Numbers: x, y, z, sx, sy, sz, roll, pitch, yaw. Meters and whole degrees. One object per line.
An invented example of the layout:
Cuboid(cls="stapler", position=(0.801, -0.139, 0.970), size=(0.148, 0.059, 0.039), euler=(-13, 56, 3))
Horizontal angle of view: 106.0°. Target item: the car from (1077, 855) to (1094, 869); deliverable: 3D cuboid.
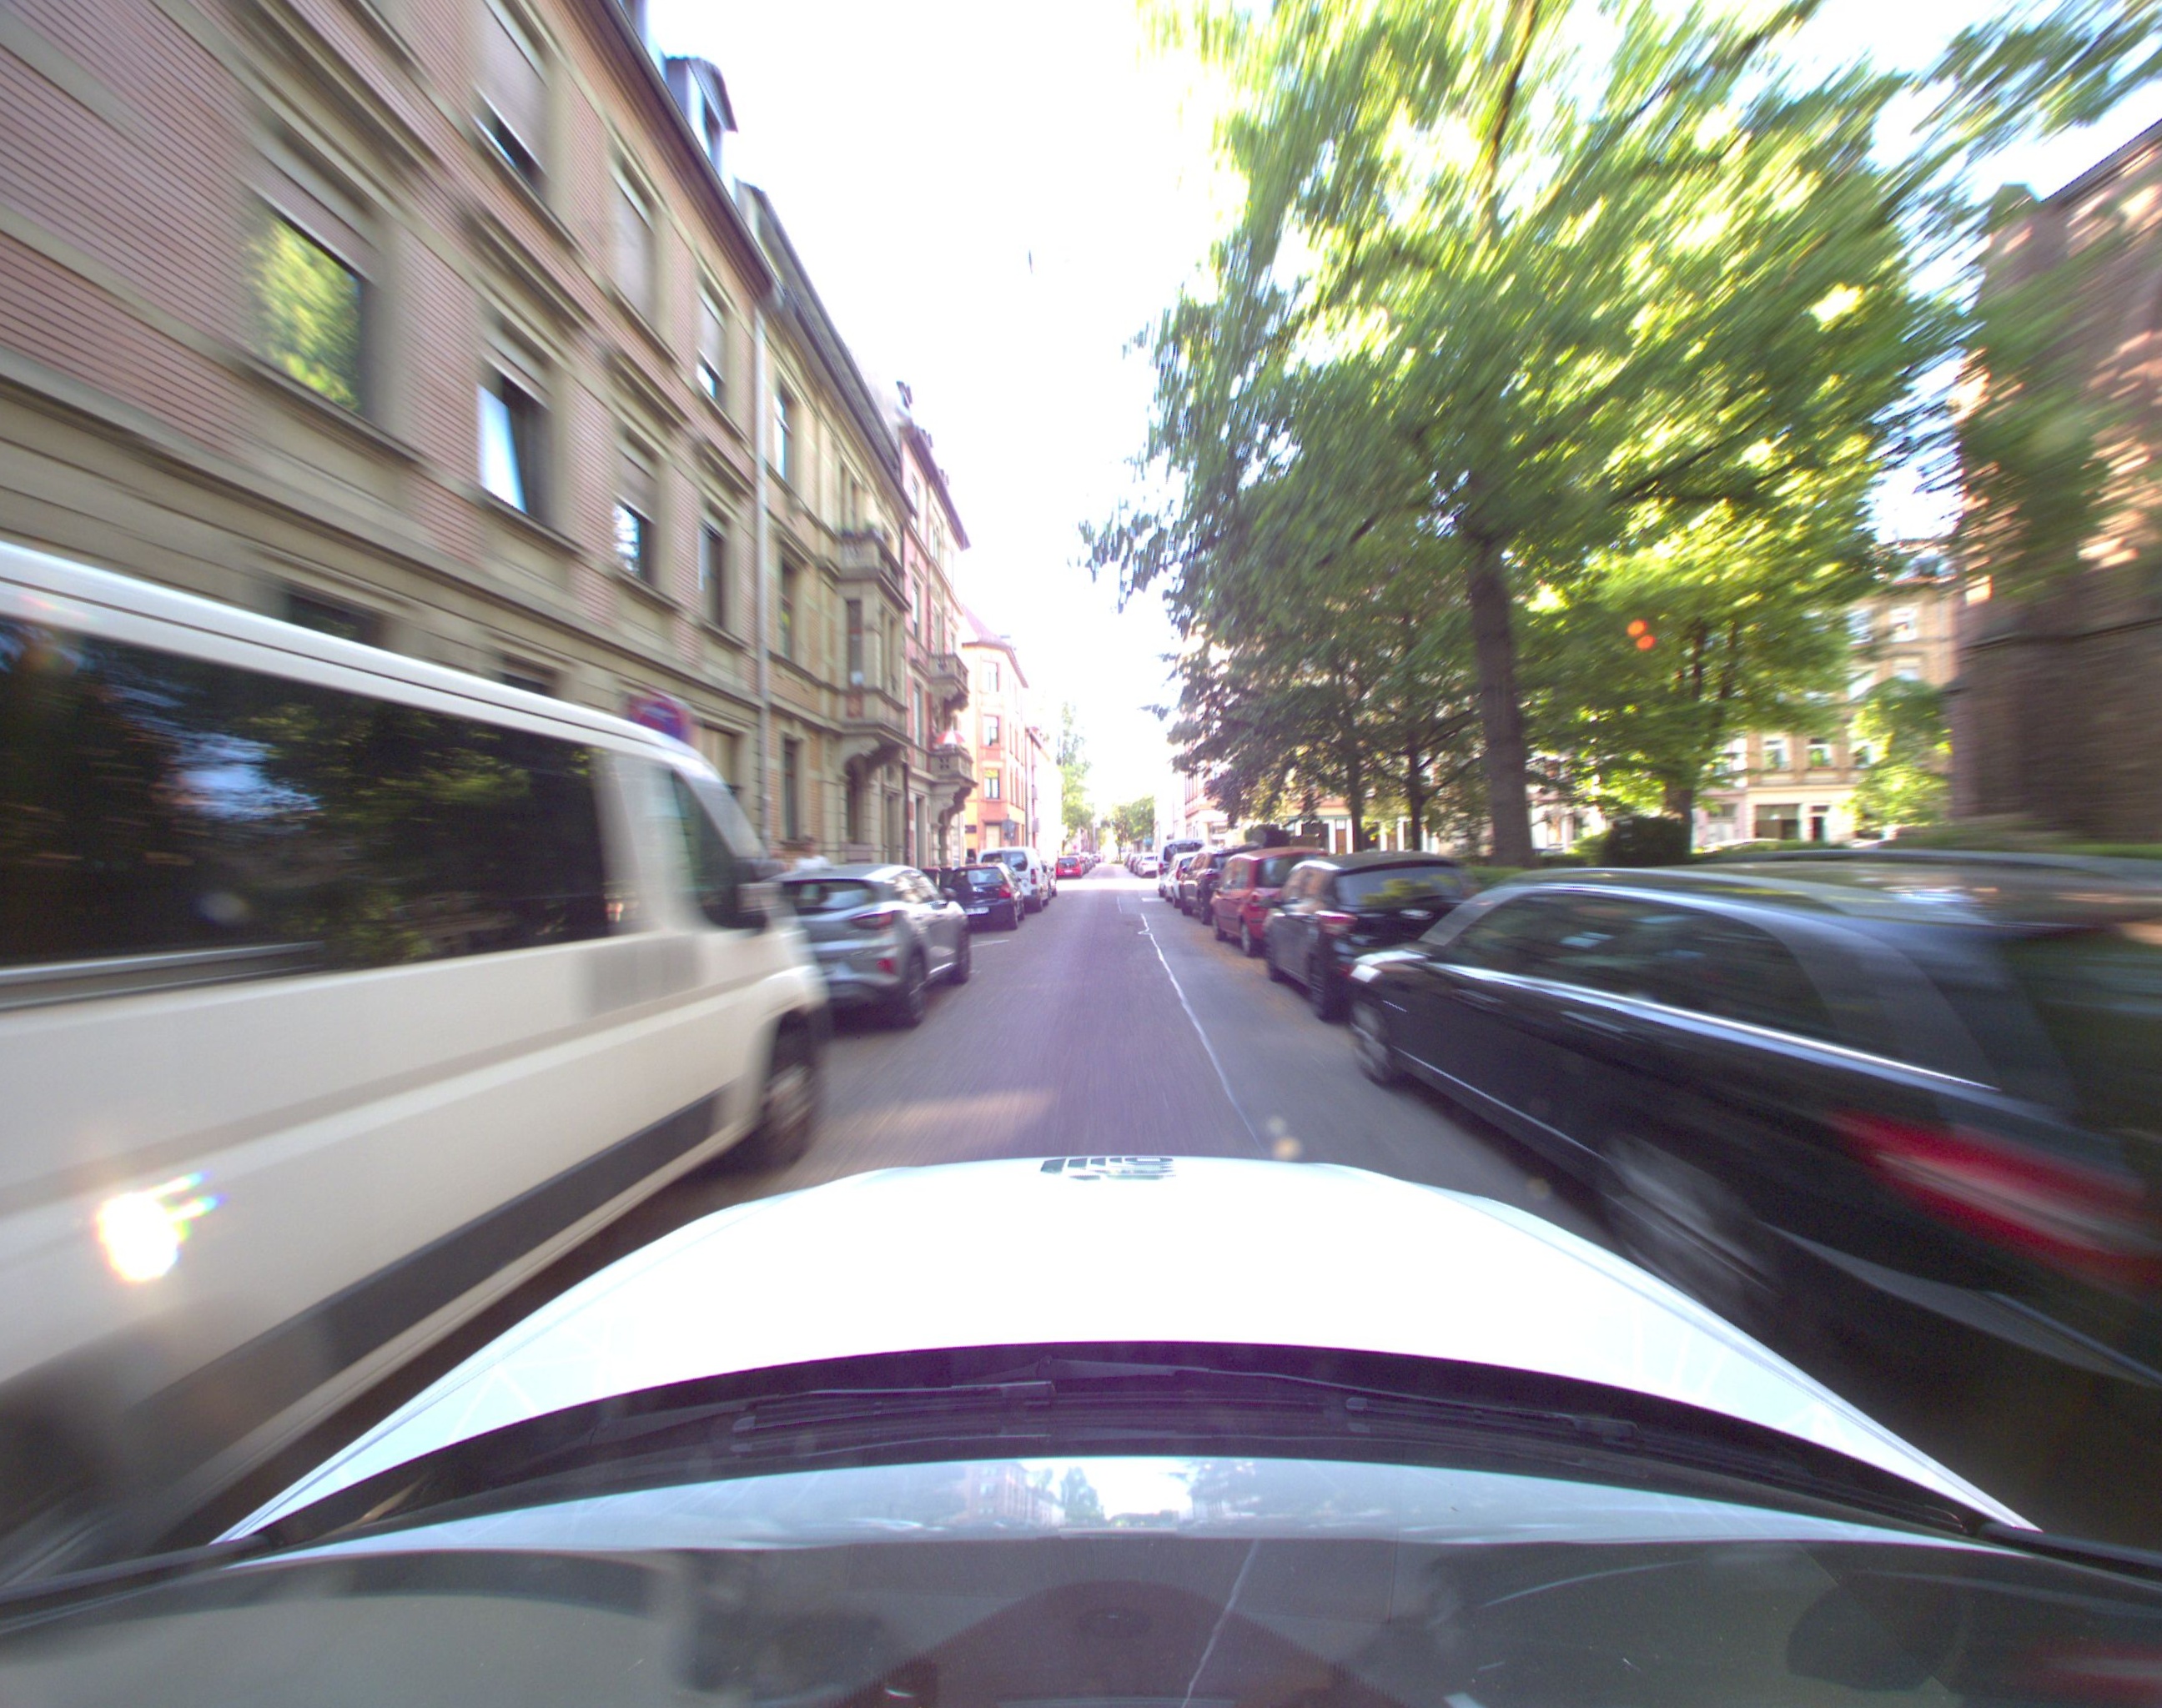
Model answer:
Cuboid(cls="car", position=(0.558, 0.960, 96.072), size=(1.662, 1.469, 3.826), euler=(-3, 0, 5))

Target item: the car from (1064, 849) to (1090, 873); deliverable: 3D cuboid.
Cuboid(cls="car", position=(-0.319, 0.544, 68.032), size=(1.736, 1.811, 4.677), euler=(-3, 0, 4))

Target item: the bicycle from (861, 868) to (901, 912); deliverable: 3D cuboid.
Cuboid(cls="bicycle", position=(-5.064, 0.888, 20.710), size=(0.569, 1.041, 1.547), euler=(1, 0, 2))

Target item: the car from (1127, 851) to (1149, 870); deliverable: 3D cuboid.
Cuboid(cls="car", position=(5.050, 0.555, 72.512), size=(1.670, 1.506, 3.938), euler=(-3, 0, 1))

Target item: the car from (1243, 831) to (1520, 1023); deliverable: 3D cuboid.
Cuboid(cls="car", position=(2.939, 0.645, 8.849), size=(1.613, 1.486, 3.778), euler=(-6, -1, 2))

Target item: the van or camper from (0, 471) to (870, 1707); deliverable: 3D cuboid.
Cuboid(cls="van or camper", position=(-2.636, 0.523, 2.639), size=(2.167, 2.148, 5.159), euler=(-3, 0, 3))

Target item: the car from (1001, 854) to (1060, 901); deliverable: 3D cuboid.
Cuboid(cls="car", position=(-1.746, 0.772, 29.153), size=(1.686, 1.481, 3.974), euler=(-3, 0, 1))

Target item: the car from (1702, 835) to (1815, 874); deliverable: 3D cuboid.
Cuboid(cls="car", position=(30.058, 0.046, 36.212), size=(3.510, 1.649, 1.637), euler=(0, -2, 8))

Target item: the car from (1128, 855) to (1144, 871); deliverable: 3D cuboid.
Cuboid(cls="car", position=(6.047, 1.002, 89.382), size=(1.669, 1.681, 4.098), euler=(-3, -1, 3))

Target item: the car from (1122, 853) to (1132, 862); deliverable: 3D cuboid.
Cuboid(cls="car", position=(8.027, 0.569, 142.665), size=(1.670, 1.487, 3.639), euler=(-3, 0, 1))

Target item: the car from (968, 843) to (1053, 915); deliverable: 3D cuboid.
Cuboid(cls="car", position=(-1.942, 0.661, 23.725), size=(1.824, 1.811, 4.574), euler=(-3, 0, 2))

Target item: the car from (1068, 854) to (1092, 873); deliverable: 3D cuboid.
Cuboid(cls="car", position=(-0.059, 0.828, 73.237), size=(1.736, 1.506, 4.351), euler=(-3, 0, 4))

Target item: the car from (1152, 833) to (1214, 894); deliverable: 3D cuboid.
Cuboid(cls="car", position=(3.678, 0.320, 30.113), size=(1.906, 1.998, 4.797), euler=(-3, 0, 4))

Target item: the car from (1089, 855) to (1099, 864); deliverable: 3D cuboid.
Cuboid(cls="car", position=(2.224, 0.996, 141.402), size=(1.670, 1.487, 4.096), euler=(-3, 0, 1))

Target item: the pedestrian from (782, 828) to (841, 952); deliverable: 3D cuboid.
Cuboid(cls="pedestrian", position=(-4.212, 0.554, 12.781), size=(0.576, 1.883, 0.905), euler=(0, -1, 2))

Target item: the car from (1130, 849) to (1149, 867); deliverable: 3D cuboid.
Cuboid(cls="car", position=(5.986, 0.420, 84.063), size=(1.670, 1.627, 4.251), euler=(-5, 0, 1))

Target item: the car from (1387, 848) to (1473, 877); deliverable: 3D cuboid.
Cuboid(cls="car", position=(18.133, 0.473, 42.500), size=(3.832, 1.473, 1.637), euler=(0, -2, 8))

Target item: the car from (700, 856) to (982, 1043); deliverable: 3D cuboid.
Cuboid(cls="car", position=(-2.336, 0.835, 9.150), size=(1.760, 1.514, 4.194), euler=(-3, 0, 1))

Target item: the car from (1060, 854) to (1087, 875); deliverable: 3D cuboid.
Cuboid(cls="car", position=(-0.553, 0.779, 62.536), size=(1.649, 1.521, 3.948), euler=(-3, 0, 4))

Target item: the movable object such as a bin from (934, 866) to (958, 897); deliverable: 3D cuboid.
Cuboid(cls="movable object such as a bin", position=(-4.719, 0.957, 28.444), size=(0.635, 1.041, 0.856), euler=(1, 0, 2))

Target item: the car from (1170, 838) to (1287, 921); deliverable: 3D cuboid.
Cuboid(cls="car", position=(3.348, 0.569, 19.339), size=(1.735, 1.603, 4.260), euler=(-6, -1, -2))

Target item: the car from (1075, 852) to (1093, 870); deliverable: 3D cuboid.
Cuboid(cls="car", position=(0.305, 0.706, 87.194), size=(1.759, 1.785, 4.040), euler=(-3, 0, 1))

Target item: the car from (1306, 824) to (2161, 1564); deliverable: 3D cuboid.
Cuboid(cls="car", position=(2.710, 0.725, 4.093), size=(1.671, 1.441, 4.693), euler=(-6, -1, -1))

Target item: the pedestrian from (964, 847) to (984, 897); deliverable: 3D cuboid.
Cuboid(cls="pedestrian", position=(-3.533, 0.613, 27.035), size=(0.546, 1.644, 0.717), euler=(0, -2, 2))

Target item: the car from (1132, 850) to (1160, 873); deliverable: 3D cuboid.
Cuboid(cls="car", position=(4.613, 0.538, 58.119), size=(1.737, 1.506, 4.022), euler=(-3, 0, 1))

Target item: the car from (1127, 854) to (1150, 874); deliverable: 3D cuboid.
Cuboid(cls="car", position=(4.758, 0.791, 67.416), size=(1.670, 1.506, 3.938), euler=(-3, 0, 1))

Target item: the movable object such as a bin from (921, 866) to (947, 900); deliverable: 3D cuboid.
Cuboid(cls="movable object such as a bin", position=(-4.729, 0.934, 26.199), size=(0.635, 1.041, 0.856), euler=(1, 0, 2))

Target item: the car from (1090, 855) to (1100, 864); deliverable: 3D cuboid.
Cuboid(cls="car", position=(2.488, 1.025, 146.516), size=(1.670, 1.487, 4.096), euler=(-3, 0, 1))

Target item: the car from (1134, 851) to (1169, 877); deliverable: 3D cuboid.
Cuboid(cls="car", position=(4.459, 0.632, 52.172), size=(1.738, 1.506, 4.356), euler=(-3, 0, -1))

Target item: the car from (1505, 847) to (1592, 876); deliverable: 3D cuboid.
Cuboid(cls="car", position=(23.967, 0.401, 41.814), size=(3.510, 1.473, 1.637), euler=(0, -2, 8))

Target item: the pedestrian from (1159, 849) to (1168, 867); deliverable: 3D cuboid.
Cuboid(cls="pedestrian", position=(7.740, 0.384, 76.541), size=(0.683, 1.660, 0.718), euler=(-2, 0, 2))

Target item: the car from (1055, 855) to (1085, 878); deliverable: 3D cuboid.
Cuboid(cls="car", position=(-0.744, 0.862, 57.714), size=(1.688, 1.521, 4.100), euler=(-3, 0, 4))

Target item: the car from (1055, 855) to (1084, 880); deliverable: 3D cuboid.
Cuboid(cls="car", position=(-0.727, 0.832, 52.915), size=(1.622, 1.481, 3.602), euler=(-3, 0, 1))

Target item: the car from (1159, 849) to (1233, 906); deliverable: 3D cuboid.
Cuboid(cls="car", position=(3.399, 0.651, 24.621), size=(1.713, 1.571, 3.828), euler=(-1, 0, 0))

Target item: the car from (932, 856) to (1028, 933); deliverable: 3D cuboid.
Cuboid(cls="car", position=(-2.226, 0.849, 18.889), size=(1.688, 1.514, 3.971), euler=(-3, 0, -1))

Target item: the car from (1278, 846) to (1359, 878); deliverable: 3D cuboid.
Cuboid(cls="car", position=(12.471, 0.465, 43.008), size=(3.896, 1.608, 1.765), euler=(-1, -2, 8))

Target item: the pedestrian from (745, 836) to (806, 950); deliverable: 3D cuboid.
Cuboid(cls="pedestrian", position=(-4.855, 0.612, 12.980), size=(0.698, 1.772, 0.649), euler=(0, -1, 2))

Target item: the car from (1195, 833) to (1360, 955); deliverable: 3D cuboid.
Cuboid(cls="car", position=(3.137, 0.606, 13.791), size=(1.615, 1.624, 3.860), euler=(-6, -1, -2))
